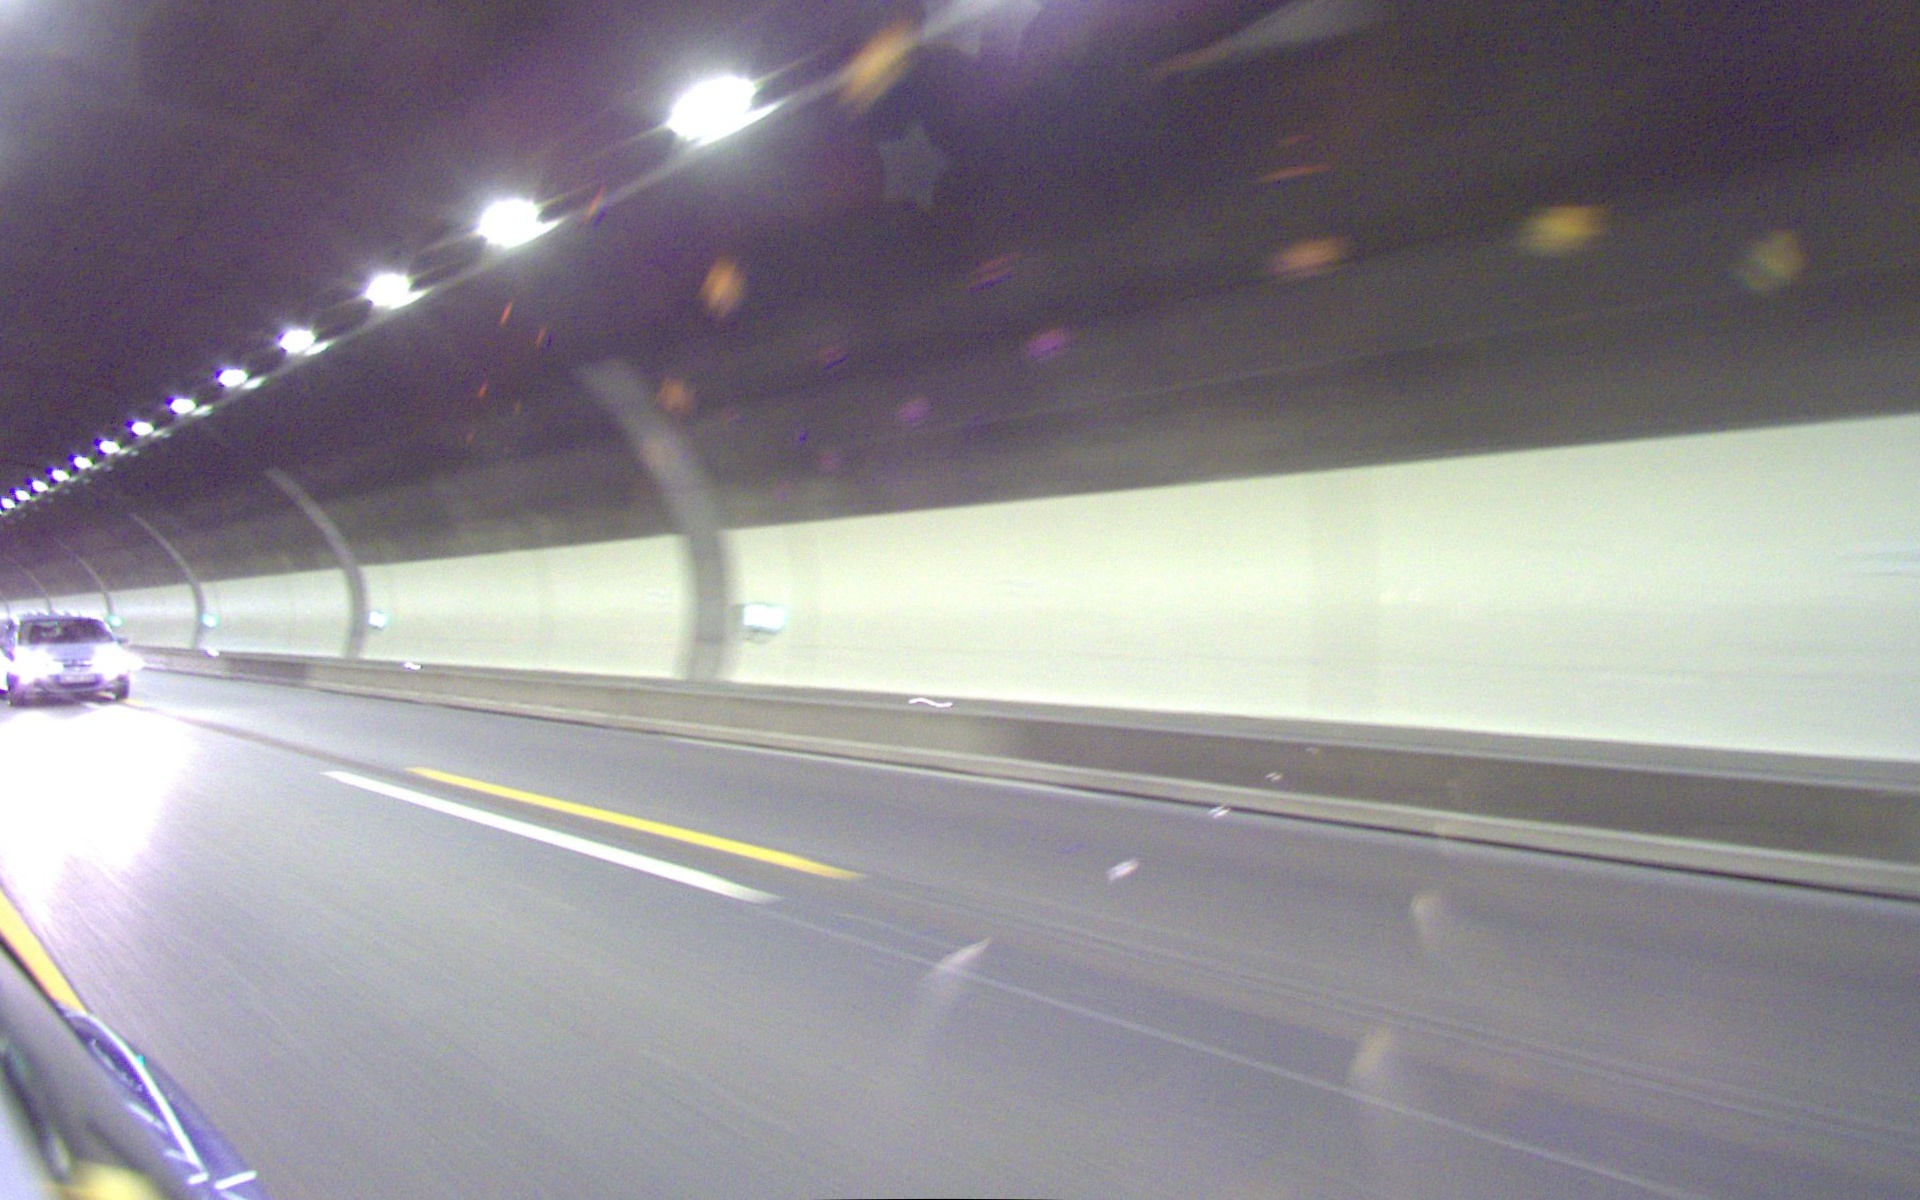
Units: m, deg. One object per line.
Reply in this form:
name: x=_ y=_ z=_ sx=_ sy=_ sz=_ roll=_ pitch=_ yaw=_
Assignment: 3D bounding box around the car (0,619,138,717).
car: x=-16.678 y=1.154 z=18.557 sx=4.094 sy=1.584 sz=1.744 roll=-1 pitch=-1 yaw=40
